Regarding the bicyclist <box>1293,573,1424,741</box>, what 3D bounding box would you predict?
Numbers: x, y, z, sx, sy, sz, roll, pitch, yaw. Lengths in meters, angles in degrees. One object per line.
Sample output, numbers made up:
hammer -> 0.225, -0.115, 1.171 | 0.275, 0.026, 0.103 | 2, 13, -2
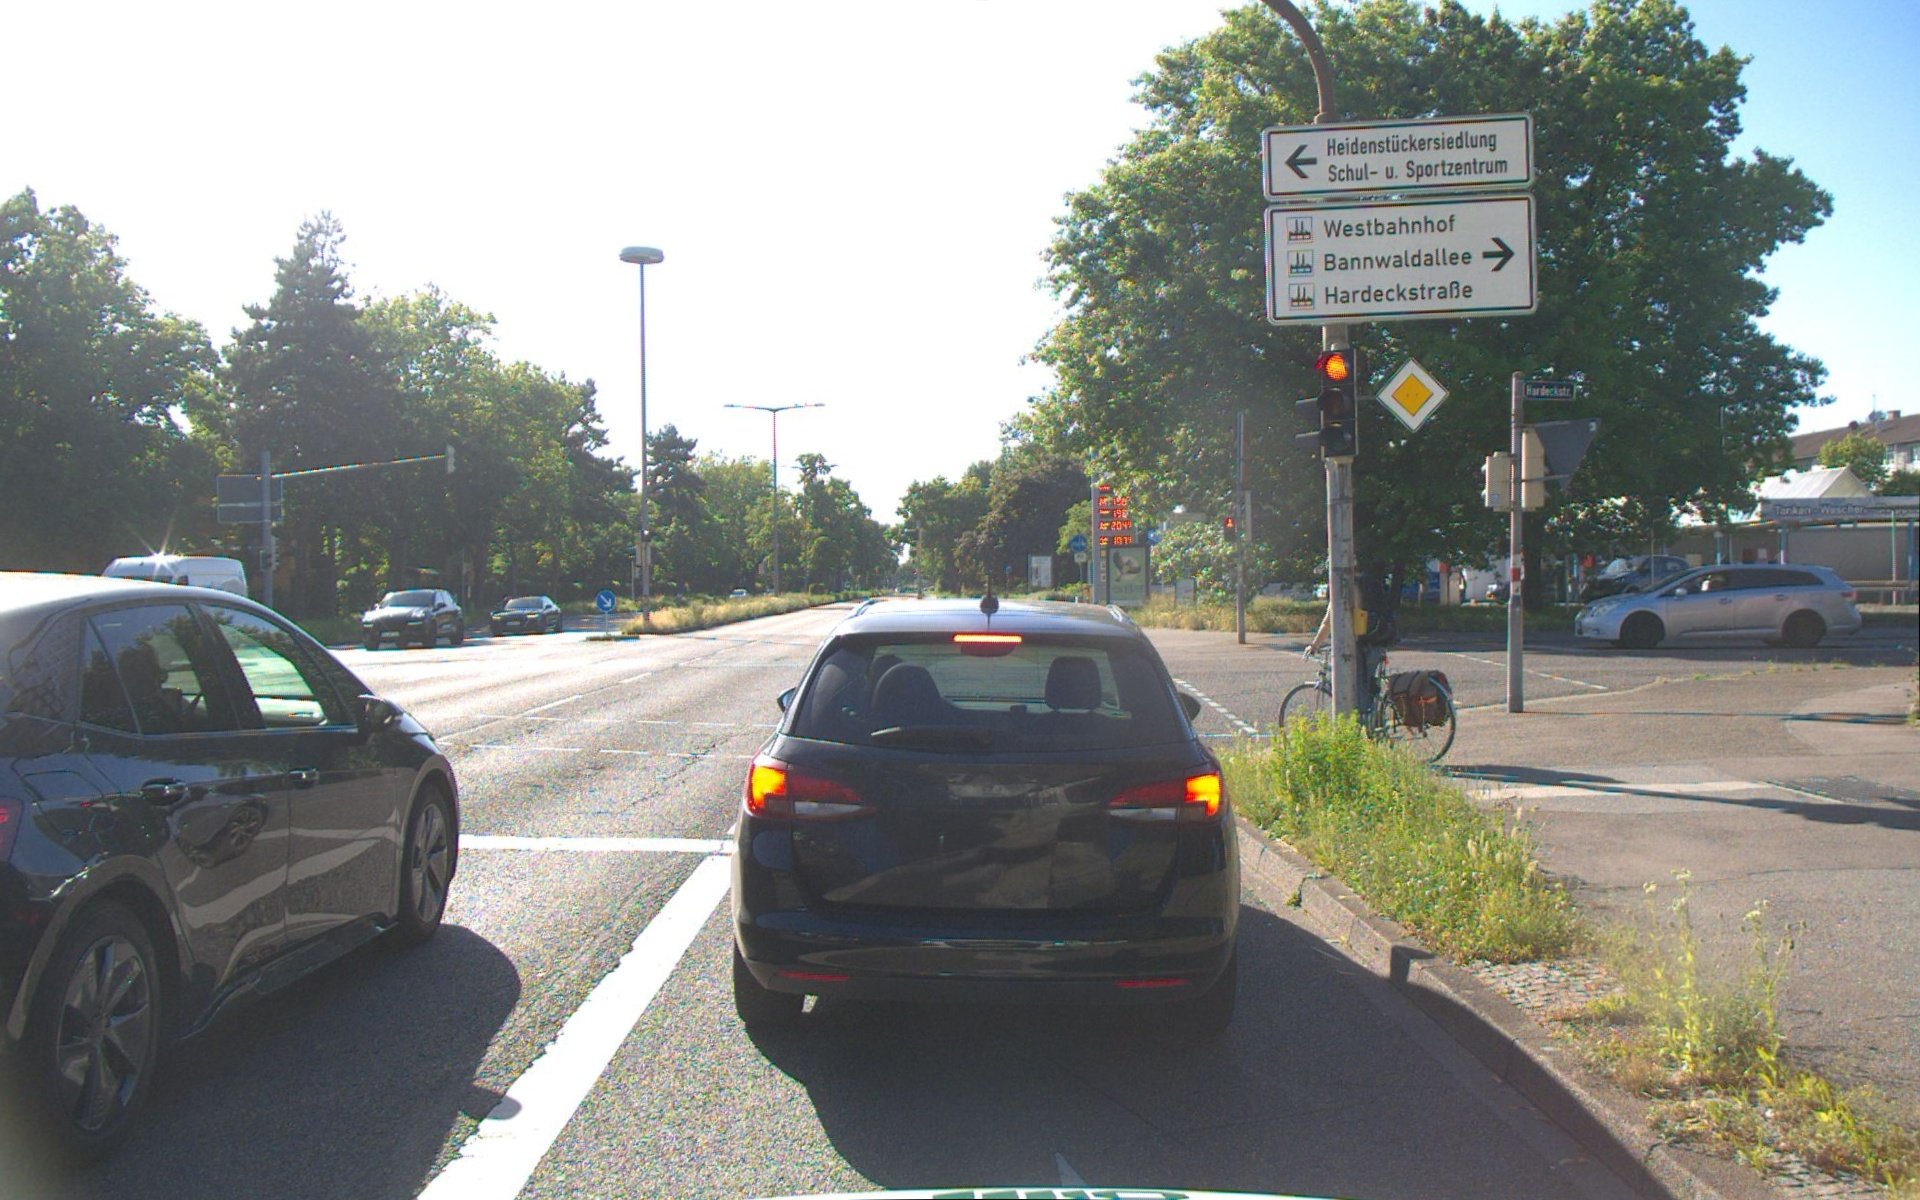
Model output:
bicyclist -> 3.219, 0.461, 13.383 | 0.534, 1.299, 0.816 | -2, -2, -44

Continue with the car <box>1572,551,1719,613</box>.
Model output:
car -> 19.992, -0.531, 48.205 | 3.934, 1.709, 1.732 | -2, 0, -24

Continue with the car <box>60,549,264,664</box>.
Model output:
car -> -19.217, 0.114, 40.204 | 2.057, 2.536, 6.003 | -1, 0, -1

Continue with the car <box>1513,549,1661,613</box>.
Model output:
car -> 18.967, -0.584, 50.023 | 3.935, 1.780, 1.985 | -2, 1, -24

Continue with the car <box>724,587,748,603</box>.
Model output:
car -> -22.503, -0.486, 166.122 | 1.953, 1.556, 3.999 | -2, 0, -1

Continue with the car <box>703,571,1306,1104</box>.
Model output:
car -> 0.101, 0.687, 6.848 | 1.721, 1.521, 4.206 | 0, 0, -1

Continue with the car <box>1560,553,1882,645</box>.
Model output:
car -> 13.539, -0.015, 29.713 | 4.897, 1.512, 2.002 | -1, 0, 11

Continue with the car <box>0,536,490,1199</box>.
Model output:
car -> -2.999, 0.660, 5.616 | 1.650, 1.608, 4.206 | 0, 0, -1

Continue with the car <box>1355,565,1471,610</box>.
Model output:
car -> 16.436, -0.461, 60.070 | 3.837, 1.544, 1.732 | -2, 0, -24

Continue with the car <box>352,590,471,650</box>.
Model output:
car -> -16.005, 0.545, 48.508 | 1.953, 1.629, 4.615 | -1, 0, -1

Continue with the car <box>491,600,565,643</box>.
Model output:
car -> -16.362, 0.784, 62.848 | 1.740, 1.488, 4.164 | -1, 0, -1

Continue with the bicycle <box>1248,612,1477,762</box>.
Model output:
bicycle -> 3.226, 0.703, 13.381 | 0.533, 1.117, 1.748 | -2, -2, -44

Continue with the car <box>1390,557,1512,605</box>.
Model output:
car -> 16.913, -0.648, 56.994 | 3.837, 1.544, 1.732 | -2, 0, -24
